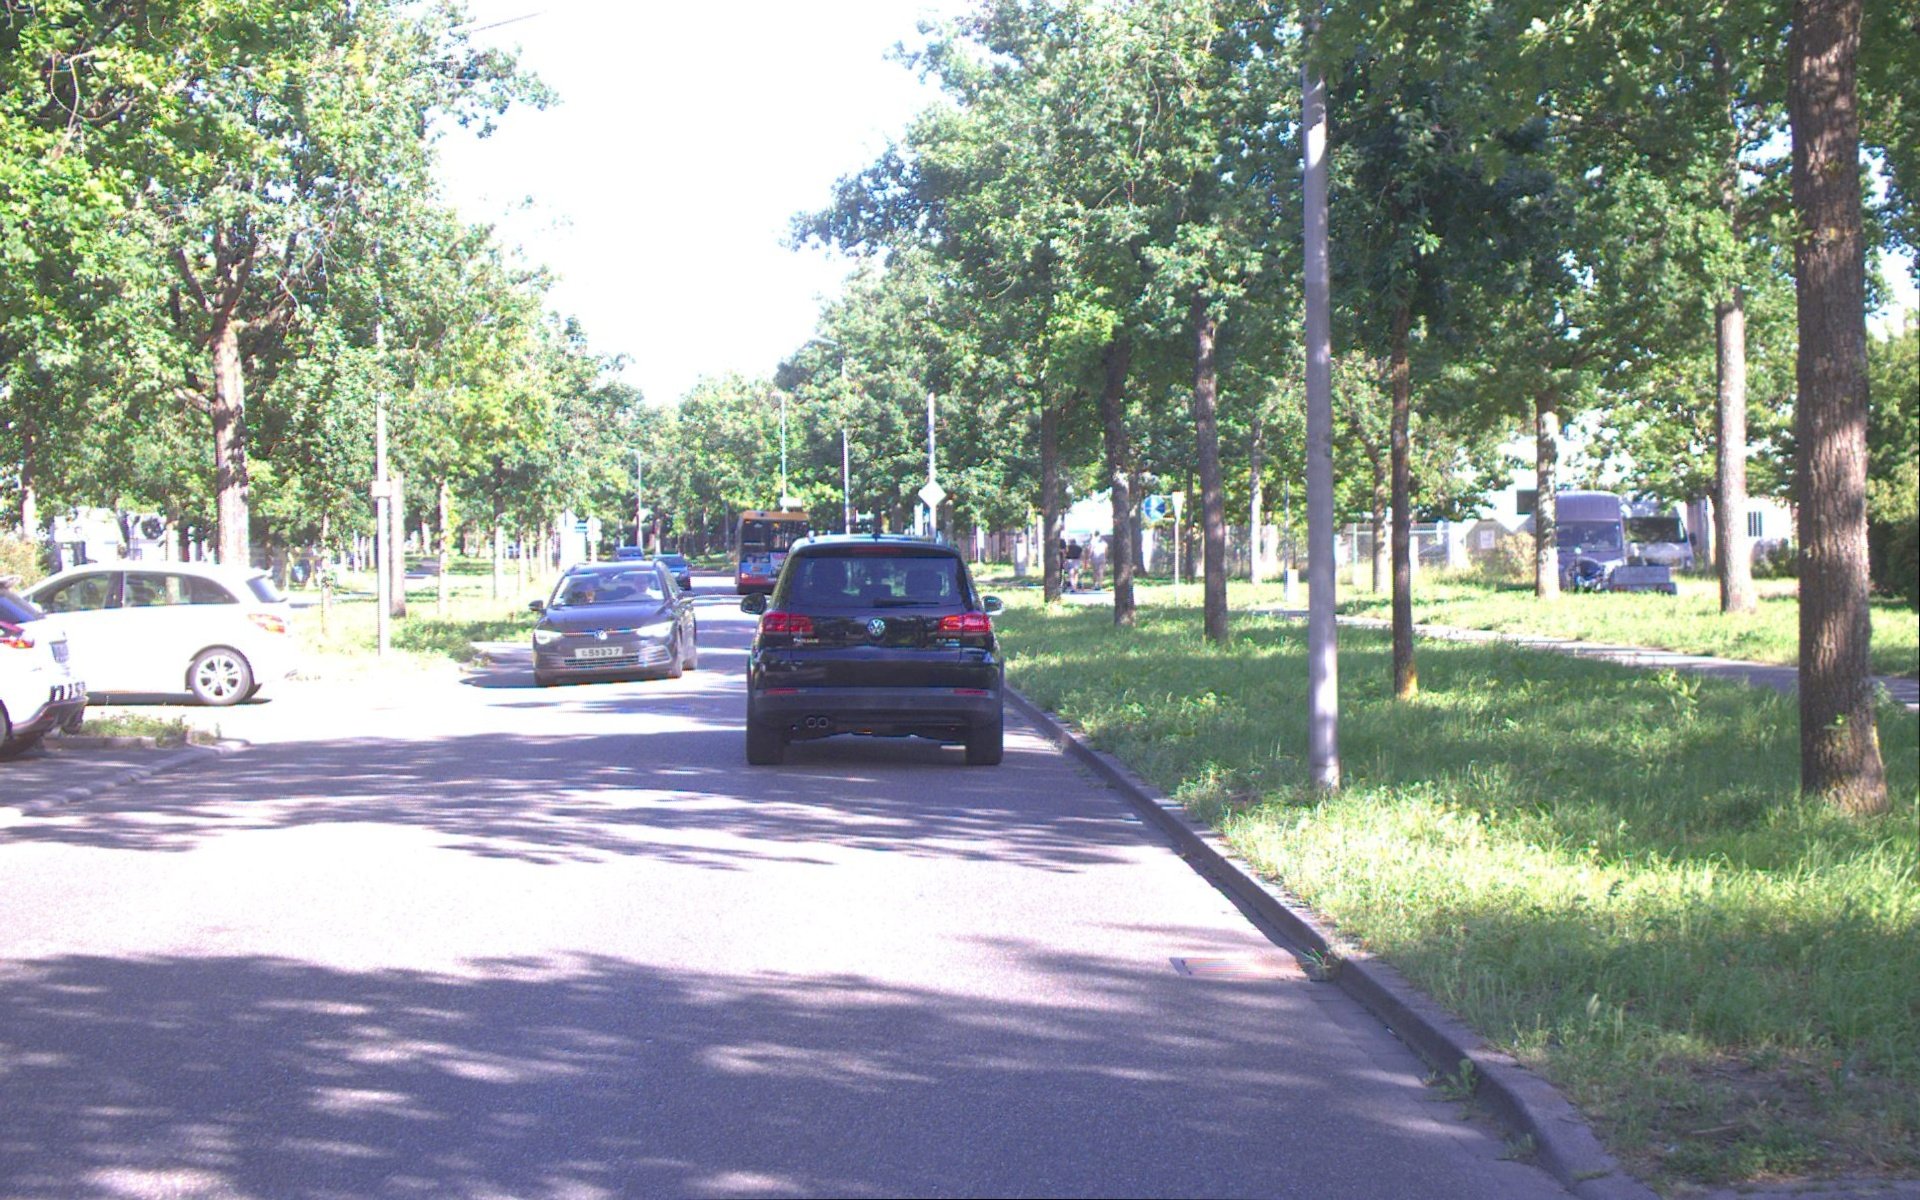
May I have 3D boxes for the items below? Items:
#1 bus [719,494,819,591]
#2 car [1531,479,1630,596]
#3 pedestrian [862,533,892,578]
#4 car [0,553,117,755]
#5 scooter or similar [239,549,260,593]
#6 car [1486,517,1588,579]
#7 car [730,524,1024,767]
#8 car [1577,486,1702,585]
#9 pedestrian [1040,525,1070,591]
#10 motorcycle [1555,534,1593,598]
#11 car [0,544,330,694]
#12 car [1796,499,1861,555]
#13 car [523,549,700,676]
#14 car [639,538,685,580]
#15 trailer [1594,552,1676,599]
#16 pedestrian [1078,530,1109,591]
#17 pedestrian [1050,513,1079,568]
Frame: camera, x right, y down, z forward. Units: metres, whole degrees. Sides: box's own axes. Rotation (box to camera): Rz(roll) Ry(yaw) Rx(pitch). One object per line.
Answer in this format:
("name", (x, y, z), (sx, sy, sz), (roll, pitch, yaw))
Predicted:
("bus", (-7.240, -2.194, 128.855), (2.764, 3.444, 11.214), (-1, 1, -8))
("car", (15.320, -1.599, 85.146), (2.085, 2.557, 5.971), (1, 4, 7))
("pedestrian", (-3.069, -1.636, 126.738), (1.019, 1.646, 1.100), (-1, 1, -5))
("car", (-9.089, 0.382, 27.118), (4.412, 1.506, 2.088), (0, 1, -3))
("scooter or similar", (-21.124, -0.872, 102.226), (0.395, 1.275, 1.441), (-1, 1, -4))
("car", (16.157, -1.459, 96.438), (2.005, 1.658, 3.597), (-1, 1, -4))
("car", (-0.717, 0.270, 25.889), (1.935, 1.650, 4.428), (0, 1, -5))
("car", (18.829, -1.799, 95.457), (2.160, 2.634, 4.852), (-1, 1, -4))
("pedestrian", (2.646, -1.175, 95.820), (0.725, 1.806, 0.868), (-1, 4, -5))
("motorcycle", (13.341, -0.724, 74.724), (0.663, 1.227, 2.405), (-1, -3, 7))
("car", (-9.360, 0.186, 37.814), (4.625, 1.553, 2.192), (0, 1, -6))
("car", (26.564, -2.245, 105.217), (1.836, 1.634, 3.998), (-1, 1, 13))
("car", (-4.272, 0.119, 42.681), (1.684, 1.397, 4.427), (-2, 1, 0))
("car", (-11.933, -1.661, 137.742), (1.765, 1.523, 4.496), (-2, 2, -5))
("trailer", (14.294, -0.513, 72.839), (1.579, 0.865, 2.053), (-1, -3, 8))
("pedestrian", (3.914, -1.159, 101.028), (0.725, 1.749, 0.868), (-3, 1, -4))
("pedestrian", (3.043, -1.738, 100.240), (0.725, 1.597, 0.868), (-1, 1, -5))
